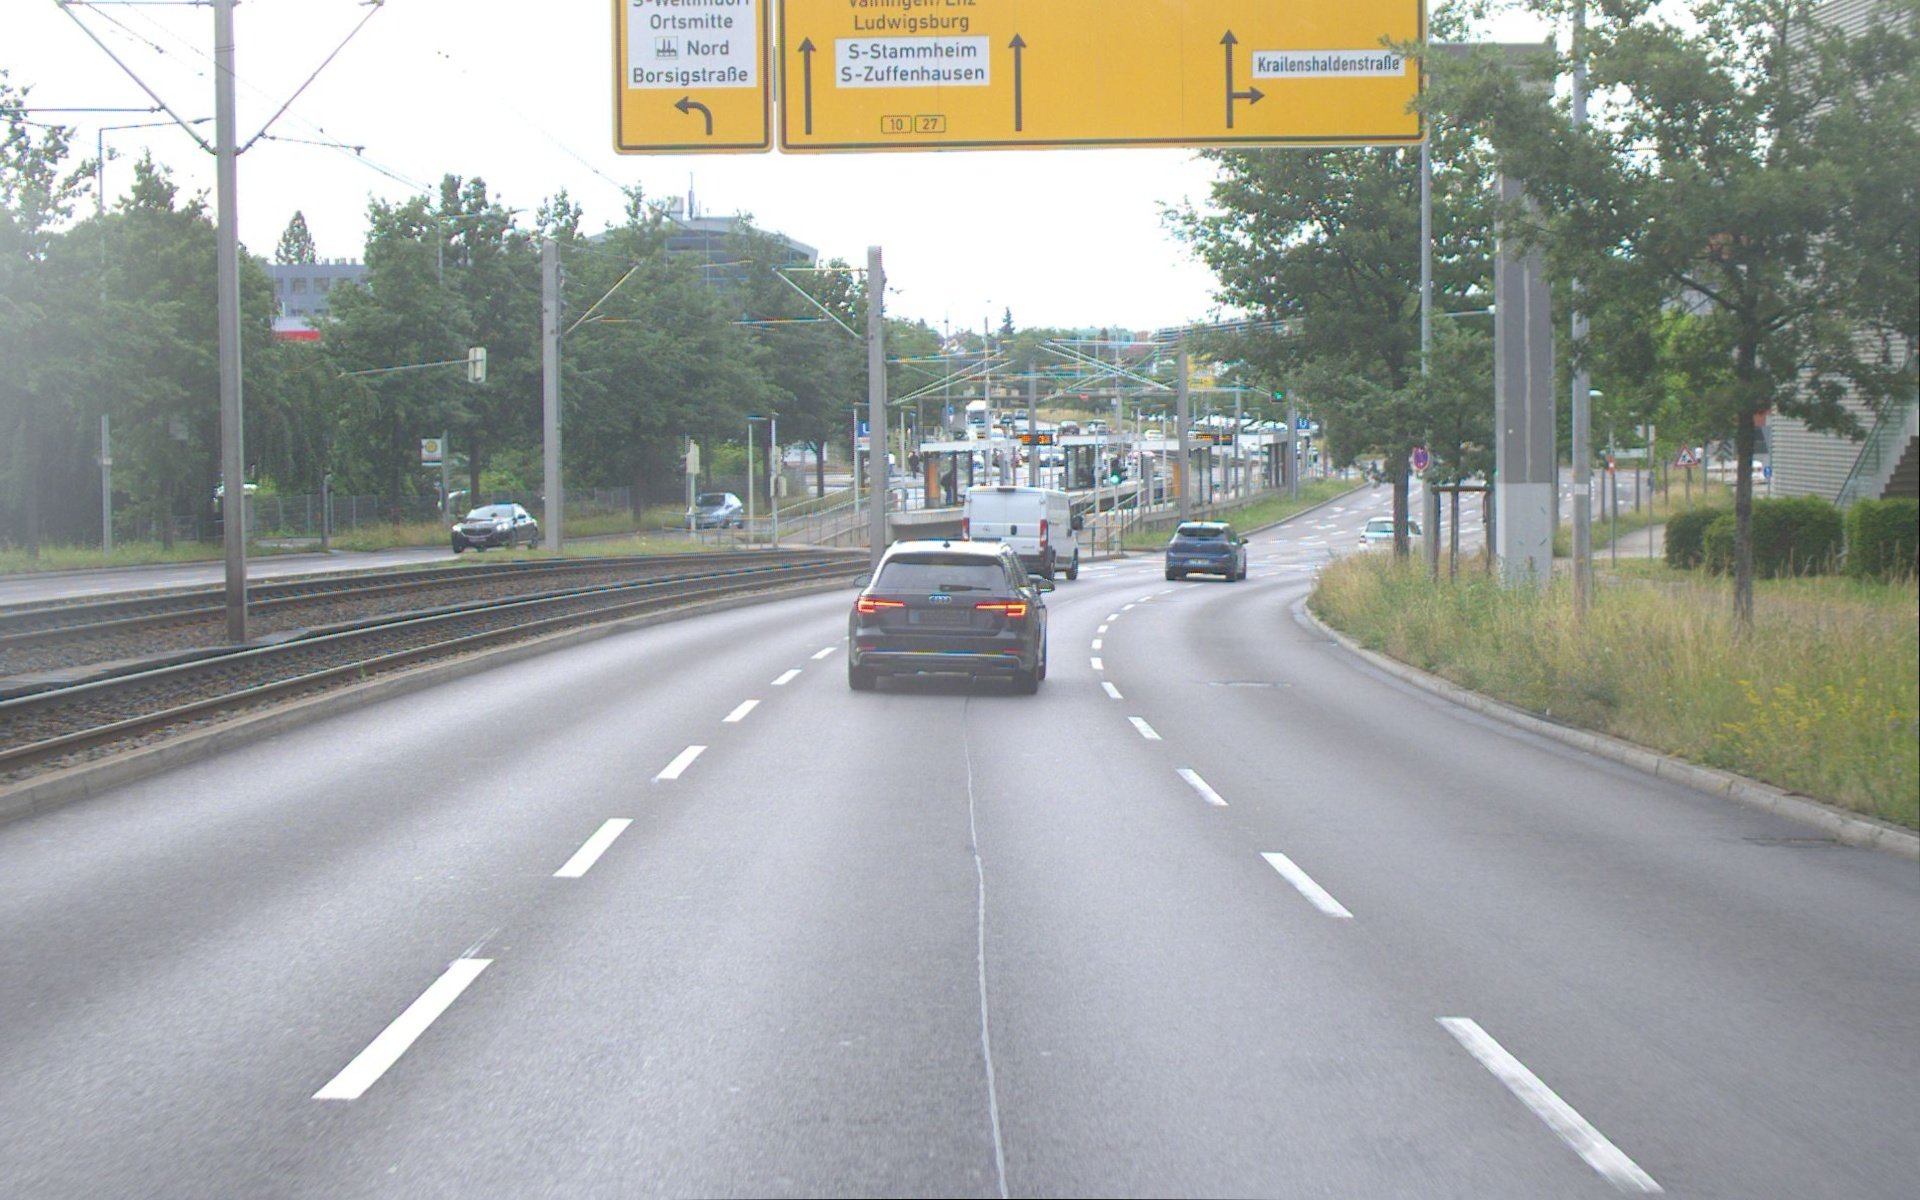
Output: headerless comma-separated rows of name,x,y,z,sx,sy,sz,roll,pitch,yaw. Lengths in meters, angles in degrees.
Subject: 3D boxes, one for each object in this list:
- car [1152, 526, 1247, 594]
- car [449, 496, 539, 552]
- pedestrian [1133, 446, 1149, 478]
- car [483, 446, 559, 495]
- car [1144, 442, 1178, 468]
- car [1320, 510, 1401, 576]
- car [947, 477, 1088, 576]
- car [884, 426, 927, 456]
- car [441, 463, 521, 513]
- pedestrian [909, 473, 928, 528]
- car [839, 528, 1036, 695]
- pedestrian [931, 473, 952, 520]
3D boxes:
car,6.066,-0.982,86.663,2.022,1.617,3.998,2,0,9
car,-13.729,-2.260,101.471,1.883,1.515,4.403,-3,2,2
pedestrian,10.109,-7.695,192.257,0.752,1.745,0.763,2,0,12
car,-19.528,-5.741,153.034,1.995,2.007,3.997,2,1,14
car,15.216,-10.964,260.138,1.994,1.787,3.998,2,0,11
car,12.061,-1.730,103.425,2.022,1.763,3.999,2,4,12
car,1.420,-1.720,81.899,2.512,2.169,5.147,2,0,10
car,-4.030,-11.725,254.005,1.993,2.007,4.001,2,0,-19
car,-20.579,-4.795,147.817,1.995,2.007,3.997,2,1,14
pedestrian,-1.508,-3.577,123.940,0.549,1.946,0.664,2,0,8
car,-0.202,0.059,33.670,1.764,1.458,4.627,1,2,0
pedestrian,-0.742,-4.178,138.982,0.637,1.848,0.750,2,0,11
